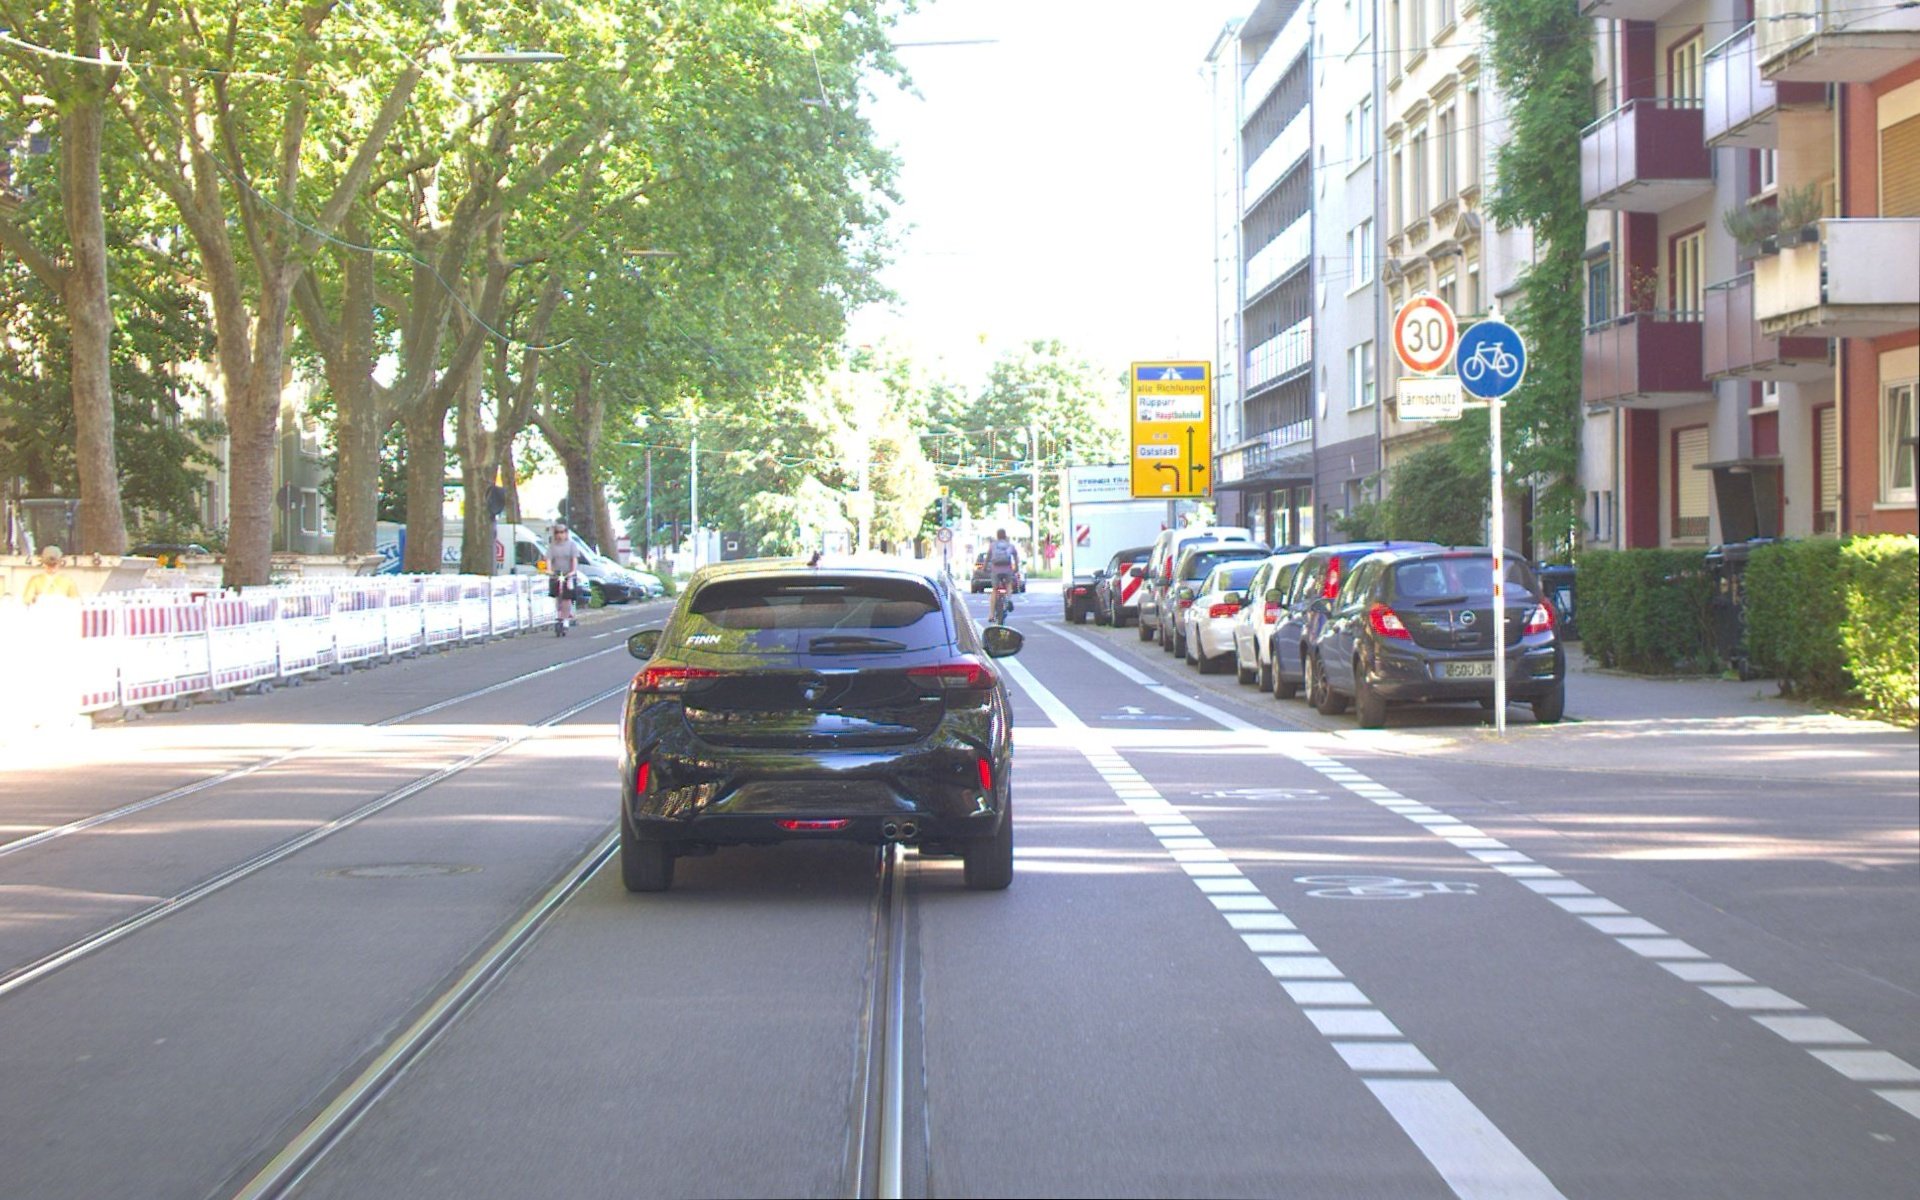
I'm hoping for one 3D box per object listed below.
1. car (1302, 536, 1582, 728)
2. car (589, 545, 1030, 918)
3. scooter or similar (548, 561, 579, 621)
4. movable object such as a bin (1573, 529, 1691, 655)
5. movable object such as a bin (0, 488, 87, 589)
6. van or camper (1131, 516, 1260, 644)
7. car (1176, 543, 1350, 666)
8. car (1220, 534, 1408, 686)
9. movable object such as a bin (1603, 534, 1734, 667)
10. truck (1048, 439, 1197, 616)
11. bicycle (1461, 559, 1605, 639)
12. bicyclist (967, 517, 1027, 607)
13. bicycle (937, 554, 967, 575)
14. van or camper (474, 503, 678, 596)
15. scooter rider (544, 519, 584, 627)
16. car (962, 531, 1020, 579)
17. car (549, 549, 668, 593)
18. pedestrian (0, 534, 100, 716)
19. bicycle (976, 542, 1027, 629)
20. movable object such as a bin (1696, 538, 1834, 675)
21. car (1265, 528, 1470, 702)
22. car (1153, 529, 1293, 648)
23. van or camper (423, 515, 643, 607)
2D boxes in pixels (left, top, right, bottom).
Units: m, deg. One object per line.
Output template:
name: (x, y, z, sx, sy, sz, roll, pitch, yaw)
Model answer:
car: (4.064, 0.221, 29.527, 1.733, 1.457, 3.916, -2, 1, -1)
car: (-0.647, 0.502, 15.905, 1.781, 1.491, 4.000, 0, 1, -1)
scooter or similar: (-7.194, -0.169, 62.426, 0.407, 1.079, 1.338, 1, 1, 0)
movable object such as a bin: (7.215, -0.095, 36.994, 0.923, 1.322, 1.682, 1, 1, 0)
movable object such as a bin: (-15.145, -1.012, 56.723, 1.097, 1.640, 1.560, 1, 1, -1)
van or camper: (3.632, -0.342, 53.611, 1.669, 1.876, 4.211, -2, 1, 0)
car: (3.794, 0.017, 43.755, 1.659, 1.394, 4.740, -2, 1, -1)
car: (3.841, 0.083, 37.803, 1.591, 1.521, 3.835, -2, 1, 0)
movable object such as a bin: (7.242, -0.007, 35.227, 0.967, 1.322, 1.721, 1, 1, 0)
truck: (3.276, -1.473, 70.804, 2.538, 3.326, 7.195, -3, 1, 0)
bicycle: (7.919, -0.018, 47.547, 1.894, 1.026, 0.476, -2, 1, 5)
bicyclist: (0.695, -0.715, 63.613, 1.089, 1.641, 1.400, 0, 1, 1)
bicycle: (-0.379, -1.665, 161.338, 0.789, 0.988, 2.241, 1, 1, 16)
van or camper: (-11.270, -1.478, 101.119, 5.723, 2.635, 2.269, 1, 1, 0)
scooter rider: (-7.180, -0.489, 62.356, 0.649, 1.950, 0.624, 1, 0, 0)
car: (1.135, -1.700, 128.312, 1.993, 1.690, 4.740, -2, 1, -1)
car: (-12.366, -1.028, 121.138, 3.987, 1.510, 1.650, 1, 1, 1)
pedestrian: (-8.461, 0.227, 32.000, 0.716, 1.663, 0.779, 1, 0, 0)
bicycle: (0.780, -0.296, 63.784, 0.916, 1.555, 3.405, 0, 1, 1)
movable object such as a bin: (7.900, 0.061, 33.785, 1.152, 1.322, 0.775, 1, 0, 0)
car: (3.930, 0.118, 33.600, 1.526, 1.584, 3.752, 1, 1, 0)
car: (3.682, -0.191, 48.644, 1.660, 1.575, 3.589, -2, 1, 0)
van or camper: (-11.371, -1.053, 91.861, 5.502, 2.371, 2.269, 1, 1, 3)
